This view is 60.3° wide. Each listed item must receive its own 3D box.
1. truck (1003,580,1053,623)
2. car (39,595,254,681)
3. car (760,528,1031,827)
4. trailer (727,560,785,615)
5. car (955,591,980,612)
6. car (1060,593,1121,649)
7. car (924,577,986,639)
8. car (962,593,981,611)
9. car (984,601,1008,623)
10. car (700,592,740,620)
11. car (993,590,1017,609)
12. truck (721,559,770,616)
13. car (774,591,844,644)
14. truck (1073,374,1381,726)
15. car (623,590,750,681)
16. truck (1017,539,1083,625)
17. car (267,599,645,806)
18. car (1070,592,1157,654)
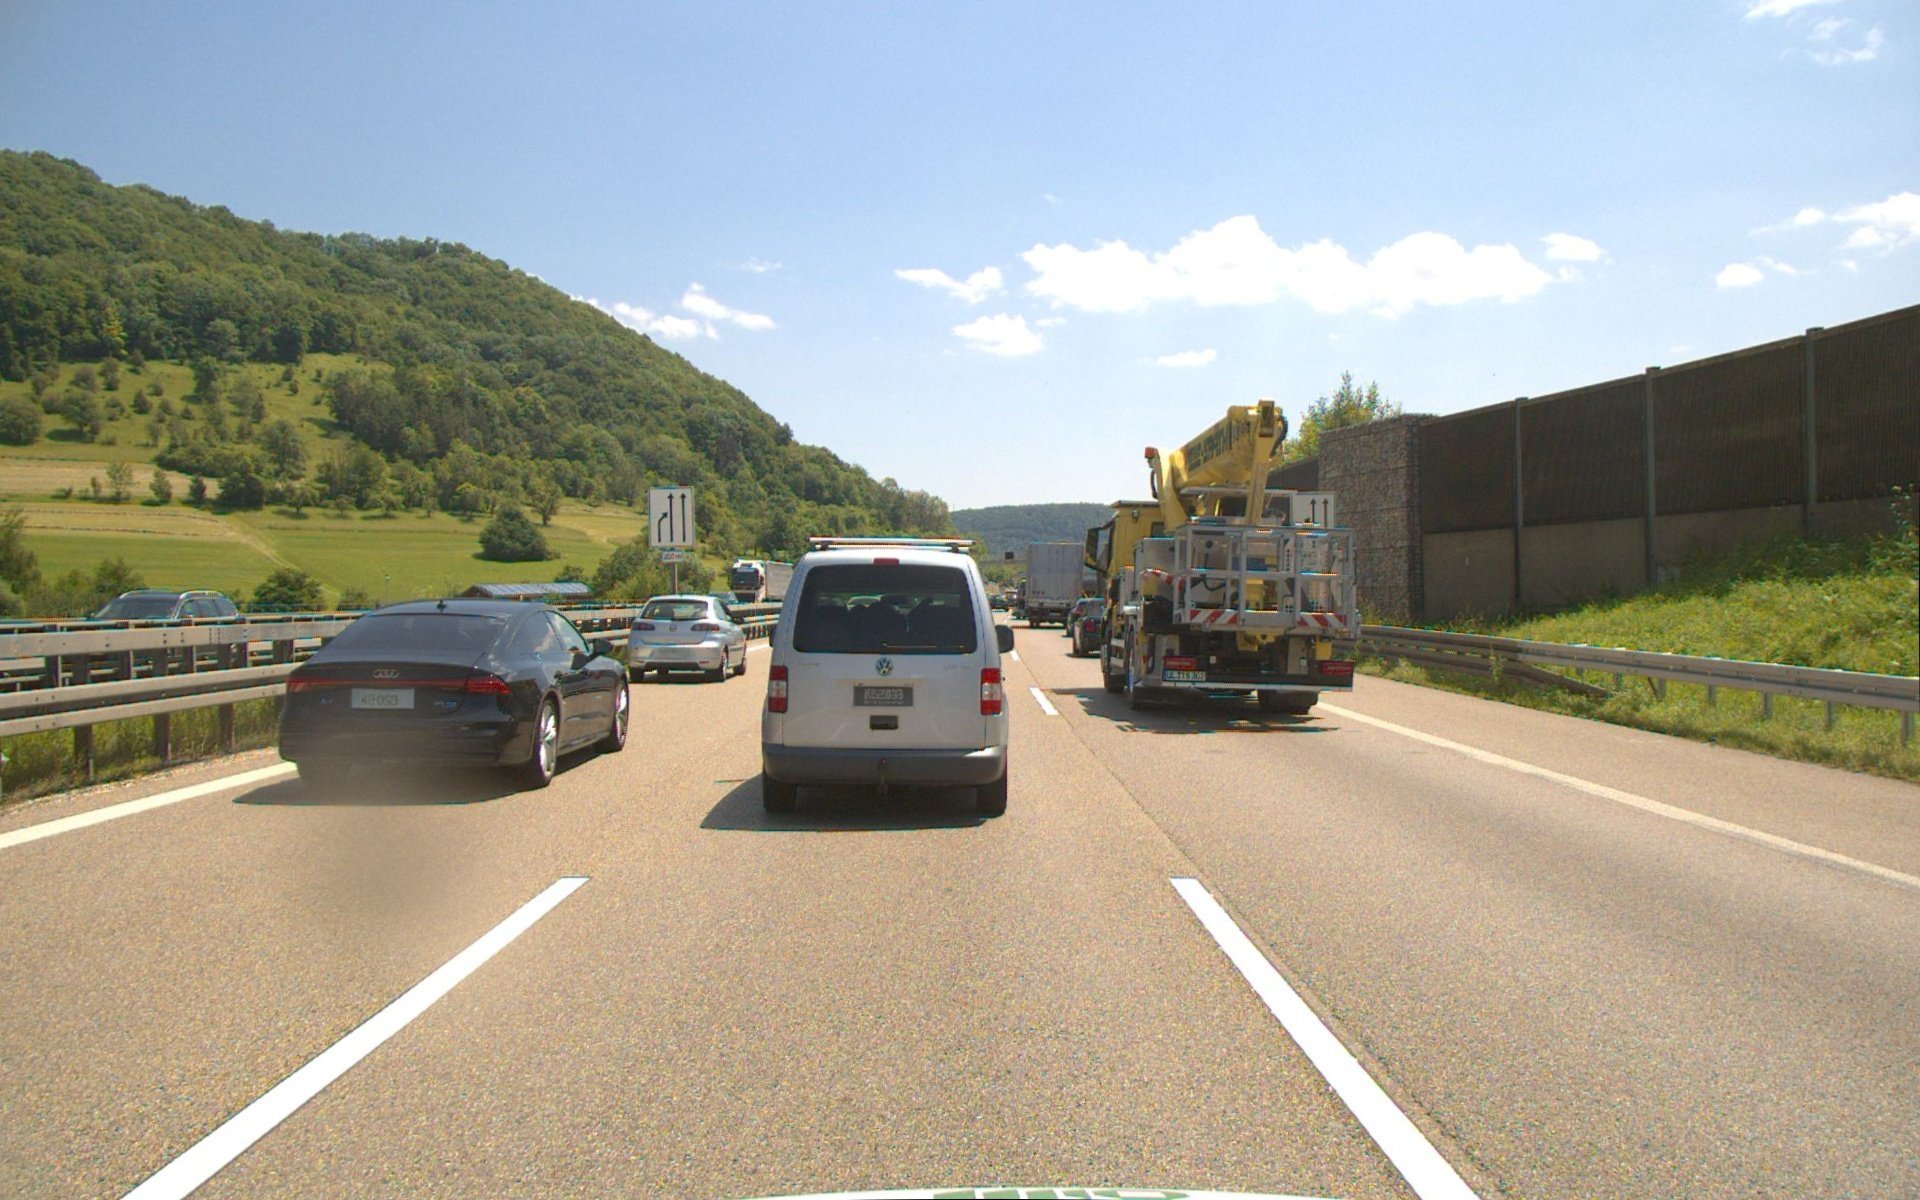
[{"bbox_3d":[4.242,0.059,102.677,2.339,2.585,5.944,0,0,10],"label":"truck"},{"bbox_3d":[-15.533,0.669,31.888,1.953,1.545,4.520,0,0,-1],"label":"car"},{"bbox_3d":[-0.475,0.484,12.537,1.721,1.900,3.998,0,0,-2],"label":"car"},{"bbox_3d":[-16.640,-0.945,135.734,2.796,4.264,13.616,1,0,1],"label":"trailer"},{"bbox_3d":[0.654,0.142,150.743,2.072,1.859,3.998,1,0,-2],"label":"car"},{"bbox_3d":[4.876,0.750,62.219,1.953,2.049,3.999,0,0,-1],"label":"car"},{"bbox_3d":[-0.206,0.257,56.002,1.953,2.010,3.998,0,0,-2],"label":"car"},{"bbox_3d":[1.184,0.227,171.458,1.953,1.837,3.999,1,0,-1],"label":"car"},{"bbox_3d":[3.020,1.026,138.705,1.952,1.779,4.000,1,0,1],"label":"car"},{"bbox_3d":[-14.130,0.339,97.670,1.811,1.638,4.078,0,0,-1],"label":"car"},{"bbox_3d":[4.376,-0.036,160.172,2.072,1.859,3.998,1,0,-2],"label":"car"},{"bbox_3d":[-16.751,-0.944,129.848,2.740,4.306,7.231,1,0,1],"label":"truck"},{"bbox_3d":[-4.571,0.500,50.468,1.886,1.525,3.998,1,0,-2],"label":"car"},{"bbox_3d":[3.355,-0.588,23.267,2.649,4.011,8.718,0,0,-2],"label":"truck"},{"bbox_3d":[-4.686,0.568,28.815,1.661,1.470,3.861,0,0,-2],"label":"car"},{"bbox_3d":[4.269,-0.788,79.935,2.879,3.890,8.238,1,0,1],"label":"truck"},{"bbox_3d":[-3.966,0.706,13.955,1.764,1.415,4.968,0,0,-1],"label":"car"},{"bbox_3d":[3.837,0.552,41.905,1.750,1.484,3.769,0,0,-2],"label":"car"}]
